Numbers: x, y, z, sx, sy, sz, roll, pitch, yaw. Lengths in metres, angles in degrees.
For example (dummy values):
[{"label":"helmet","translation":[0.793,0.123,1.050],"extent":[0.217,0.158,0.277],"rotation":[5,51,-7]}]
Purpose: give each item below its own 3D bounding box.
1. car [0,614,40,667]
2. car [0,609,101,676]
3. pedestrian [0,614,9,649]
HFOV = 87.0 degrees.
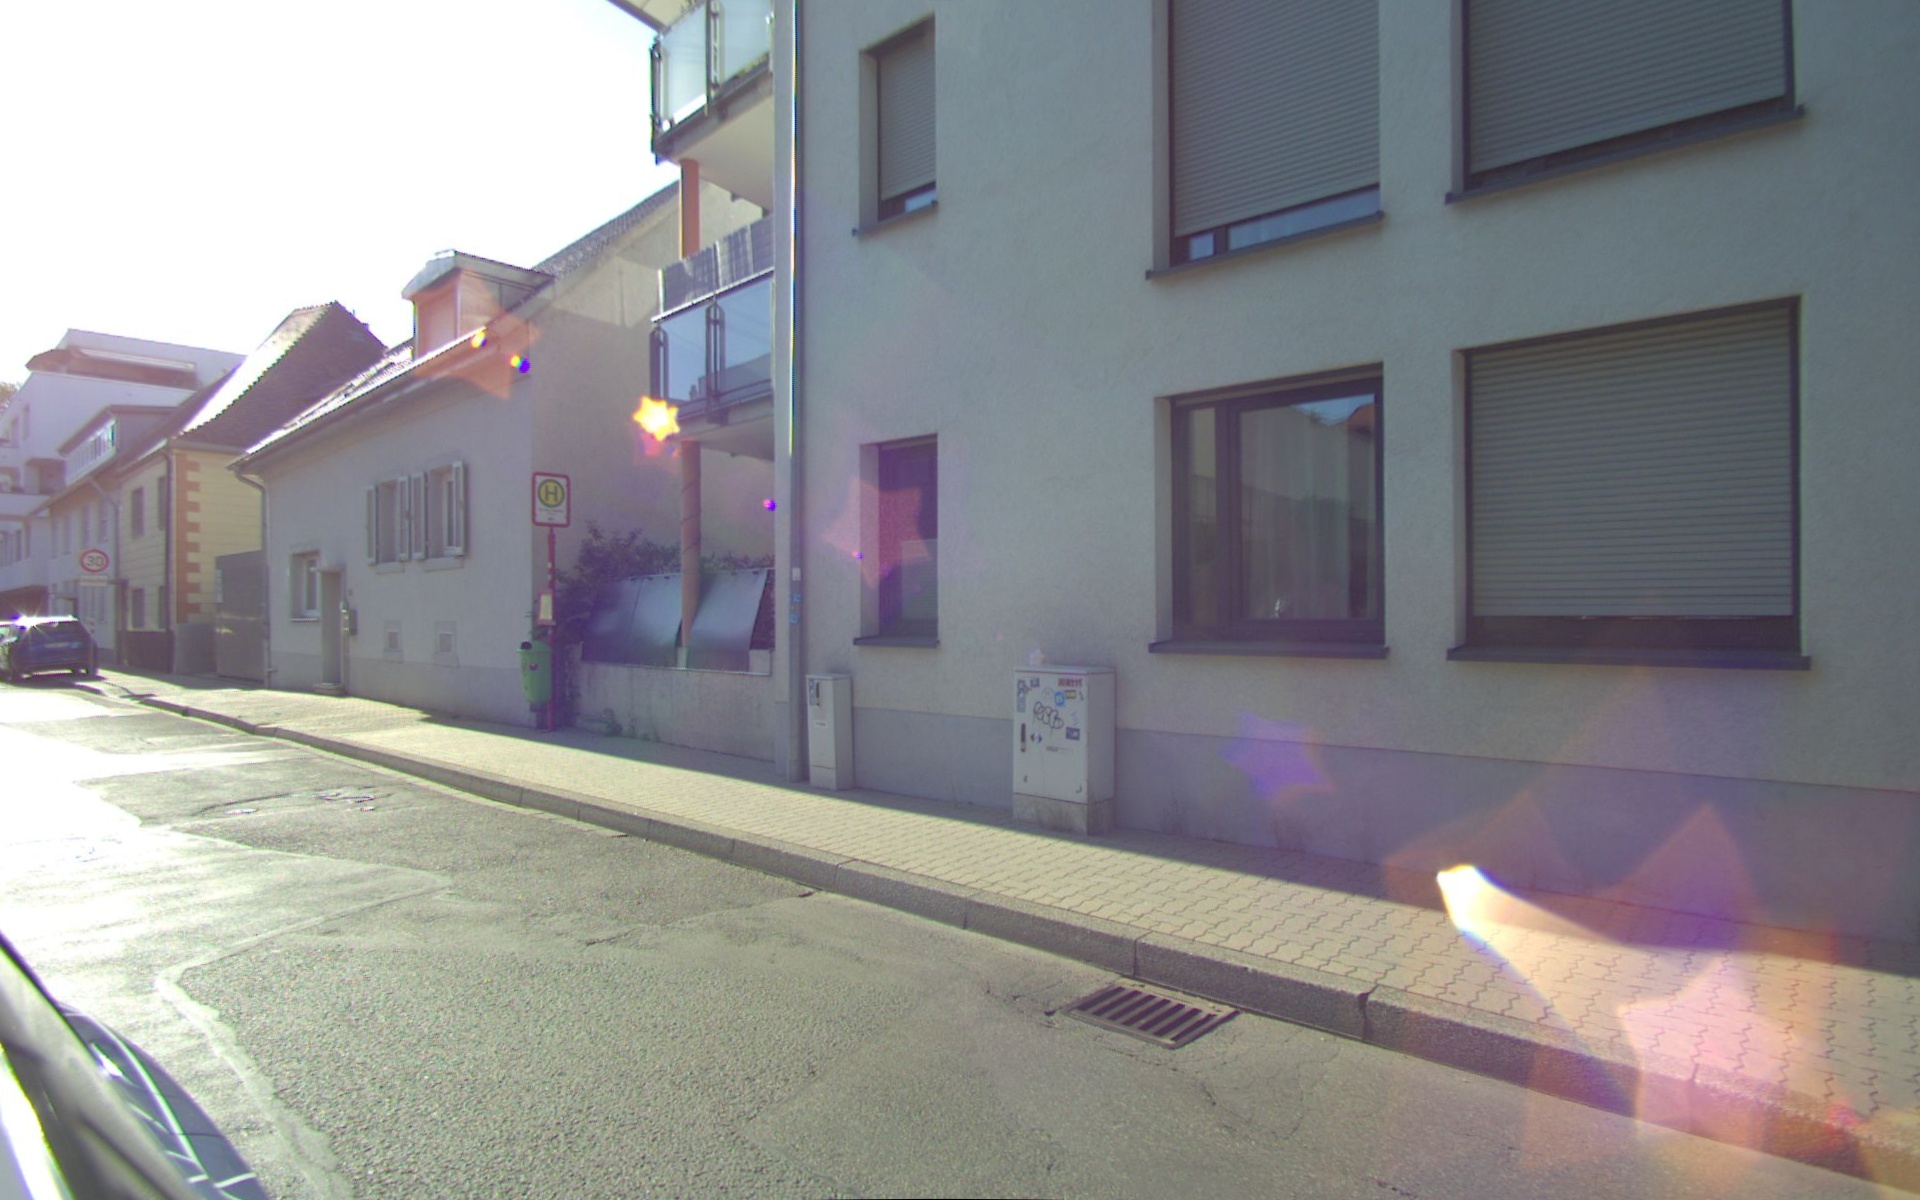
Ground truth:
[{"label":"car","translation":[-31.467,1.351,32.856],"extent":[4.333,1.599,1.839],"rotation":[-2,1,41]},{"label":"car","translation":[-24.786,1.138,27.267],"extent":[4.189,1.599,1.791],"rotation":[-3,0,40]},{"label":"pedestrian","translation":[-52.283,1.727,54.743],"extent":[0.849,1.832,1.136],"rotation":[-4,2,-26]}]
